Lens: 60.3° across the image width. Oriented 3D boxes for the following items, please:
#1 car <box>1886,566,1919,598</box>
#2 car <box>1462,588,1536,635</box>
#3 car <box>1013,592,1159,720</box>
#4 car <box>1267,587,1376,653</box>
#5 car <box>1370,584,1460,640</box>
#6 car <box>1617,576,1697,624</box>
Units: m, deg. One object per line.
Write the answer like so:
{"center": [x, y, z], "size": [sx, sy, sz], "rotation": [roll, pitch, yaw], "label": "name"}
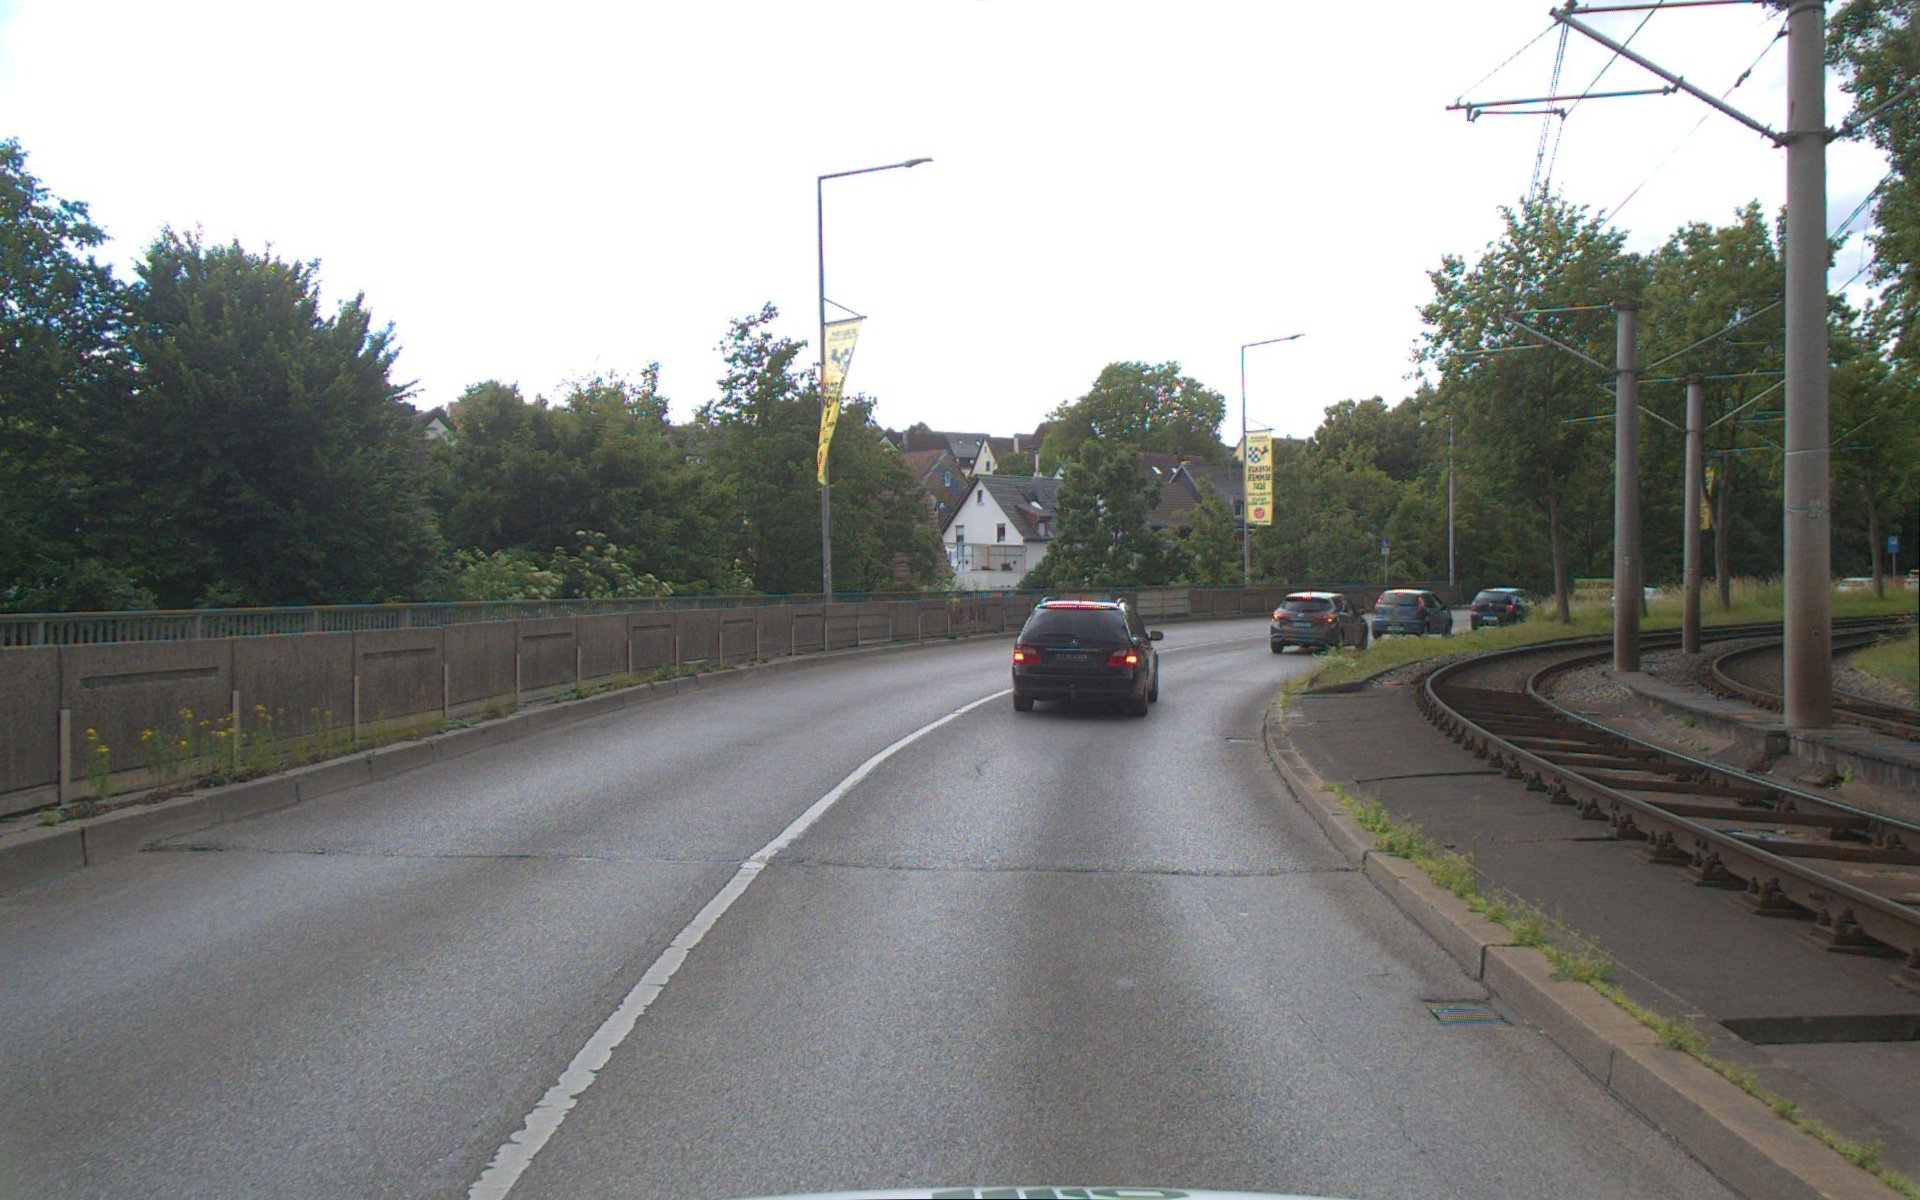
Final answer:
{"center": [52.353, -1.024, 90.377], "size": [3.965, 1.579, 1.795], "rotation": [-4, 2, -41], "label": "car"}
{"center": [18.753, 0.371, 57.431], "size": [1.736, 1.582, 4.235], "rotation": [0, 0, 28], "label": "car"}
{"center": [1.847, 0.699, 22.953], "size": [1.721, 1.542, 4.446], "rotation": [2, 0, 8], "label": "car"}
{"center": [9.376, 0.476, 42.656], "size": [1.736, 1.582, 4.236], "rotation": [-1, 0, 27], "label": "car"}
{"center": [13.795, 0.331, 49.993], "size": [1.758, 1.582, 4.381], "rotation": [-1, 0, 27], "label": "car"}
{"center": [28.708, -0.007, 68.098], "size": [1.771, 1.741, 3.964], "rotation": [-2, 2, 42], "label": "car"}
